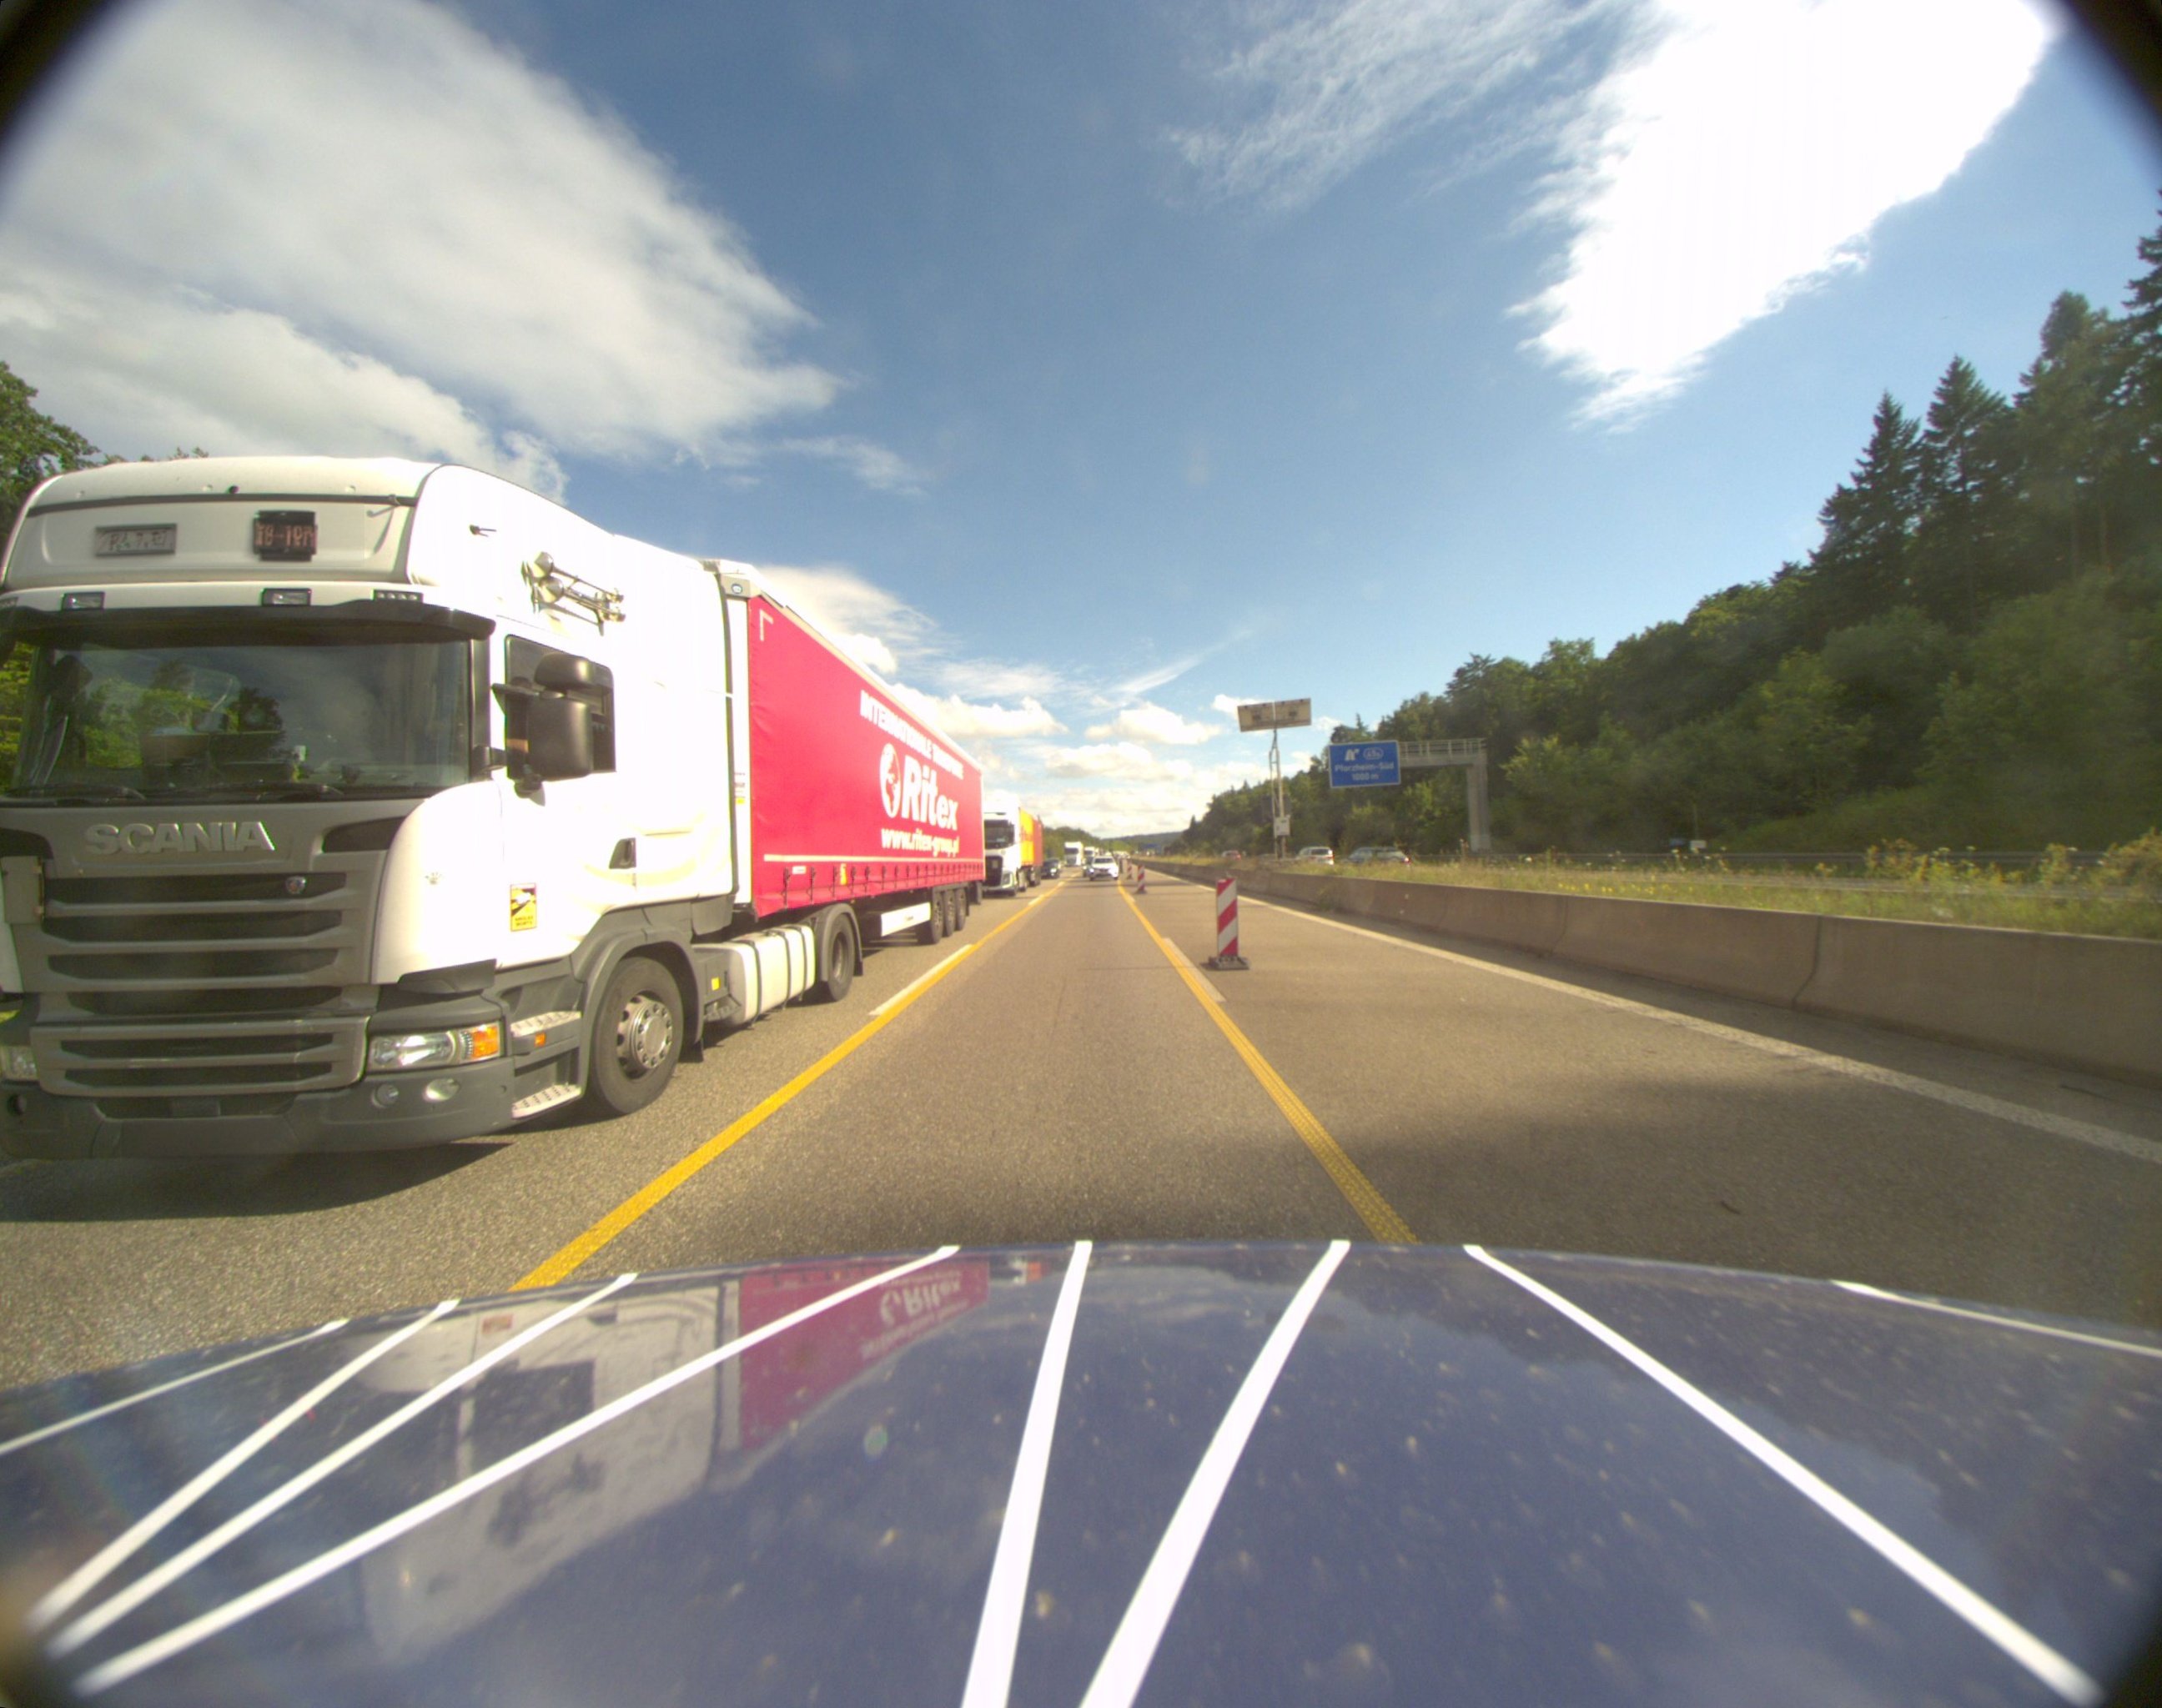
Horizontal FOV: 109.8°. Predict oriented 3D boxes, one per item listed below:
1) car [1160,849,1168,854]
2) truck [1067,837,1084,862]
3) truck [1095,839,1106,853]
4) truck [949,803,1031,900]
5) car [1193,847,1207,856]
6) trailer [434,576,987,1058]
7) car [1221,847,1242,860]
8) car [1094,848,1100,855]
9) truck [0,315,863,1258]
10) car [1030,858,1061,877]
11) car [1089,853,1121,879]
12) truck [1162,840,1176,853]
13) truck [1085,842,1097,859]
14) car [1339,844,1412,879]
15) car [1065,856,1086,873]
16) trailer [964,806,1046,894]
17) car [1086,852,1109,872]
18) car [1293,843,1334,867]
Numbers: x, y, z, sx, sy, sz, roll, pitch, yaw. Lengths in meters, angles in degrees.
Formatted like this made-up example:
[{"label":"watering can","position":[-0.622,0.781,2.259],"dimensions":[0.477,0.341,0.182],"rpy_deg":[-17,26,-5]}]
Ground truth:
[{"label":"car","position":[24.634,-0.714,225.040],"dimensions":[1.944,1.455,3.911],"rpy_deg":[-2,1,0]},{"label":"truck","position":[-0.985,-0.754,128.261],"dimensions":[2.641,4.092,8.194],"rpy_deg":[-2,0,0]},{"label":"truck","position":[6.023,-2.499,236.551],"dimensions":[2.641,4.092,8.193],"rpy_deg":[-3,0,-3]},{"label":"truck","position":[-3.805,-0.131,32.979],"dimensions":[2.500,3.759,5.790],"rpy_deg":[-2,1,2]},{"label":"car","position":[22.029,-0.508,140.910],"dimensions":[1.944,1.455,3.911],"rpy_deg":[-2,1,0]},{"label":"trailer","position":[-3.935,-0.315,13.077],"dimensions":[2.706,3.945,13.416],"rpy_deg":[-2,0,0]},{"label":"car","position":[17.392,-0.072,88.017],"dimensions":[1.665,1.379,3.911],"rpy_deg":[-2,1,0]},{"label":"car","position":[4.923,-0.784,234.776],"dimensions":[1.998,2.188,4.000],"rpy_deg":[-2,1,1]},{"label":"truck","position":[-3.999,-0.264,6.087],"dimensions":[2.674,3.936,5.710],"rpy_deg":[-2,0,0]},{"label":"car","position":[-2.649,0.996,57.433],"dimensions":[1.933,1.342,4.478],"rpy_deg":[-2,0,1]},{"label":"car","position":[1.532,0.740,49.316],"dimensions":[1.840,1.528,3.882],"rpy_deg":[-2,1,-1]},{"label":"truck","position":[30.501,-2.541,263.997],"dimensions":[3.844,4.350,13.051],"rpy_deg":[-2,1,2]},{"label":"truck","position":[2.617,-0.914,198.639],"dimensions":[2.640,4.092,8.197],"rpy_deg":[-2,0,4]},{"label":"car","position":[12.746,0.268,33.115],"dimensions":[1.665,1.379,3.911],"rpy_deg":[-2,1,0]},{"label":"car","position":[-0.466,0.938,69.980],"dimensions":[1.762,1.471,3.968],"rpy_deg":[-1,1,1]},{"label":"trailer","position":[-3.590,-0.194,39.217],"dimensions":[2.477,3.753,12.136],"rpy_deg":[-2,0,2]},{"label":"car","position":[1.252,0.612,59.029],"dimensions":[1.692,1.471,3.754],"rpy_deg":[-1,1,1]},{"label":"car","position":[16.320,0.050,53.482],"dimensions":[1.665,1.572,3.911],"rpy_deg":[-2,1,0]}]
